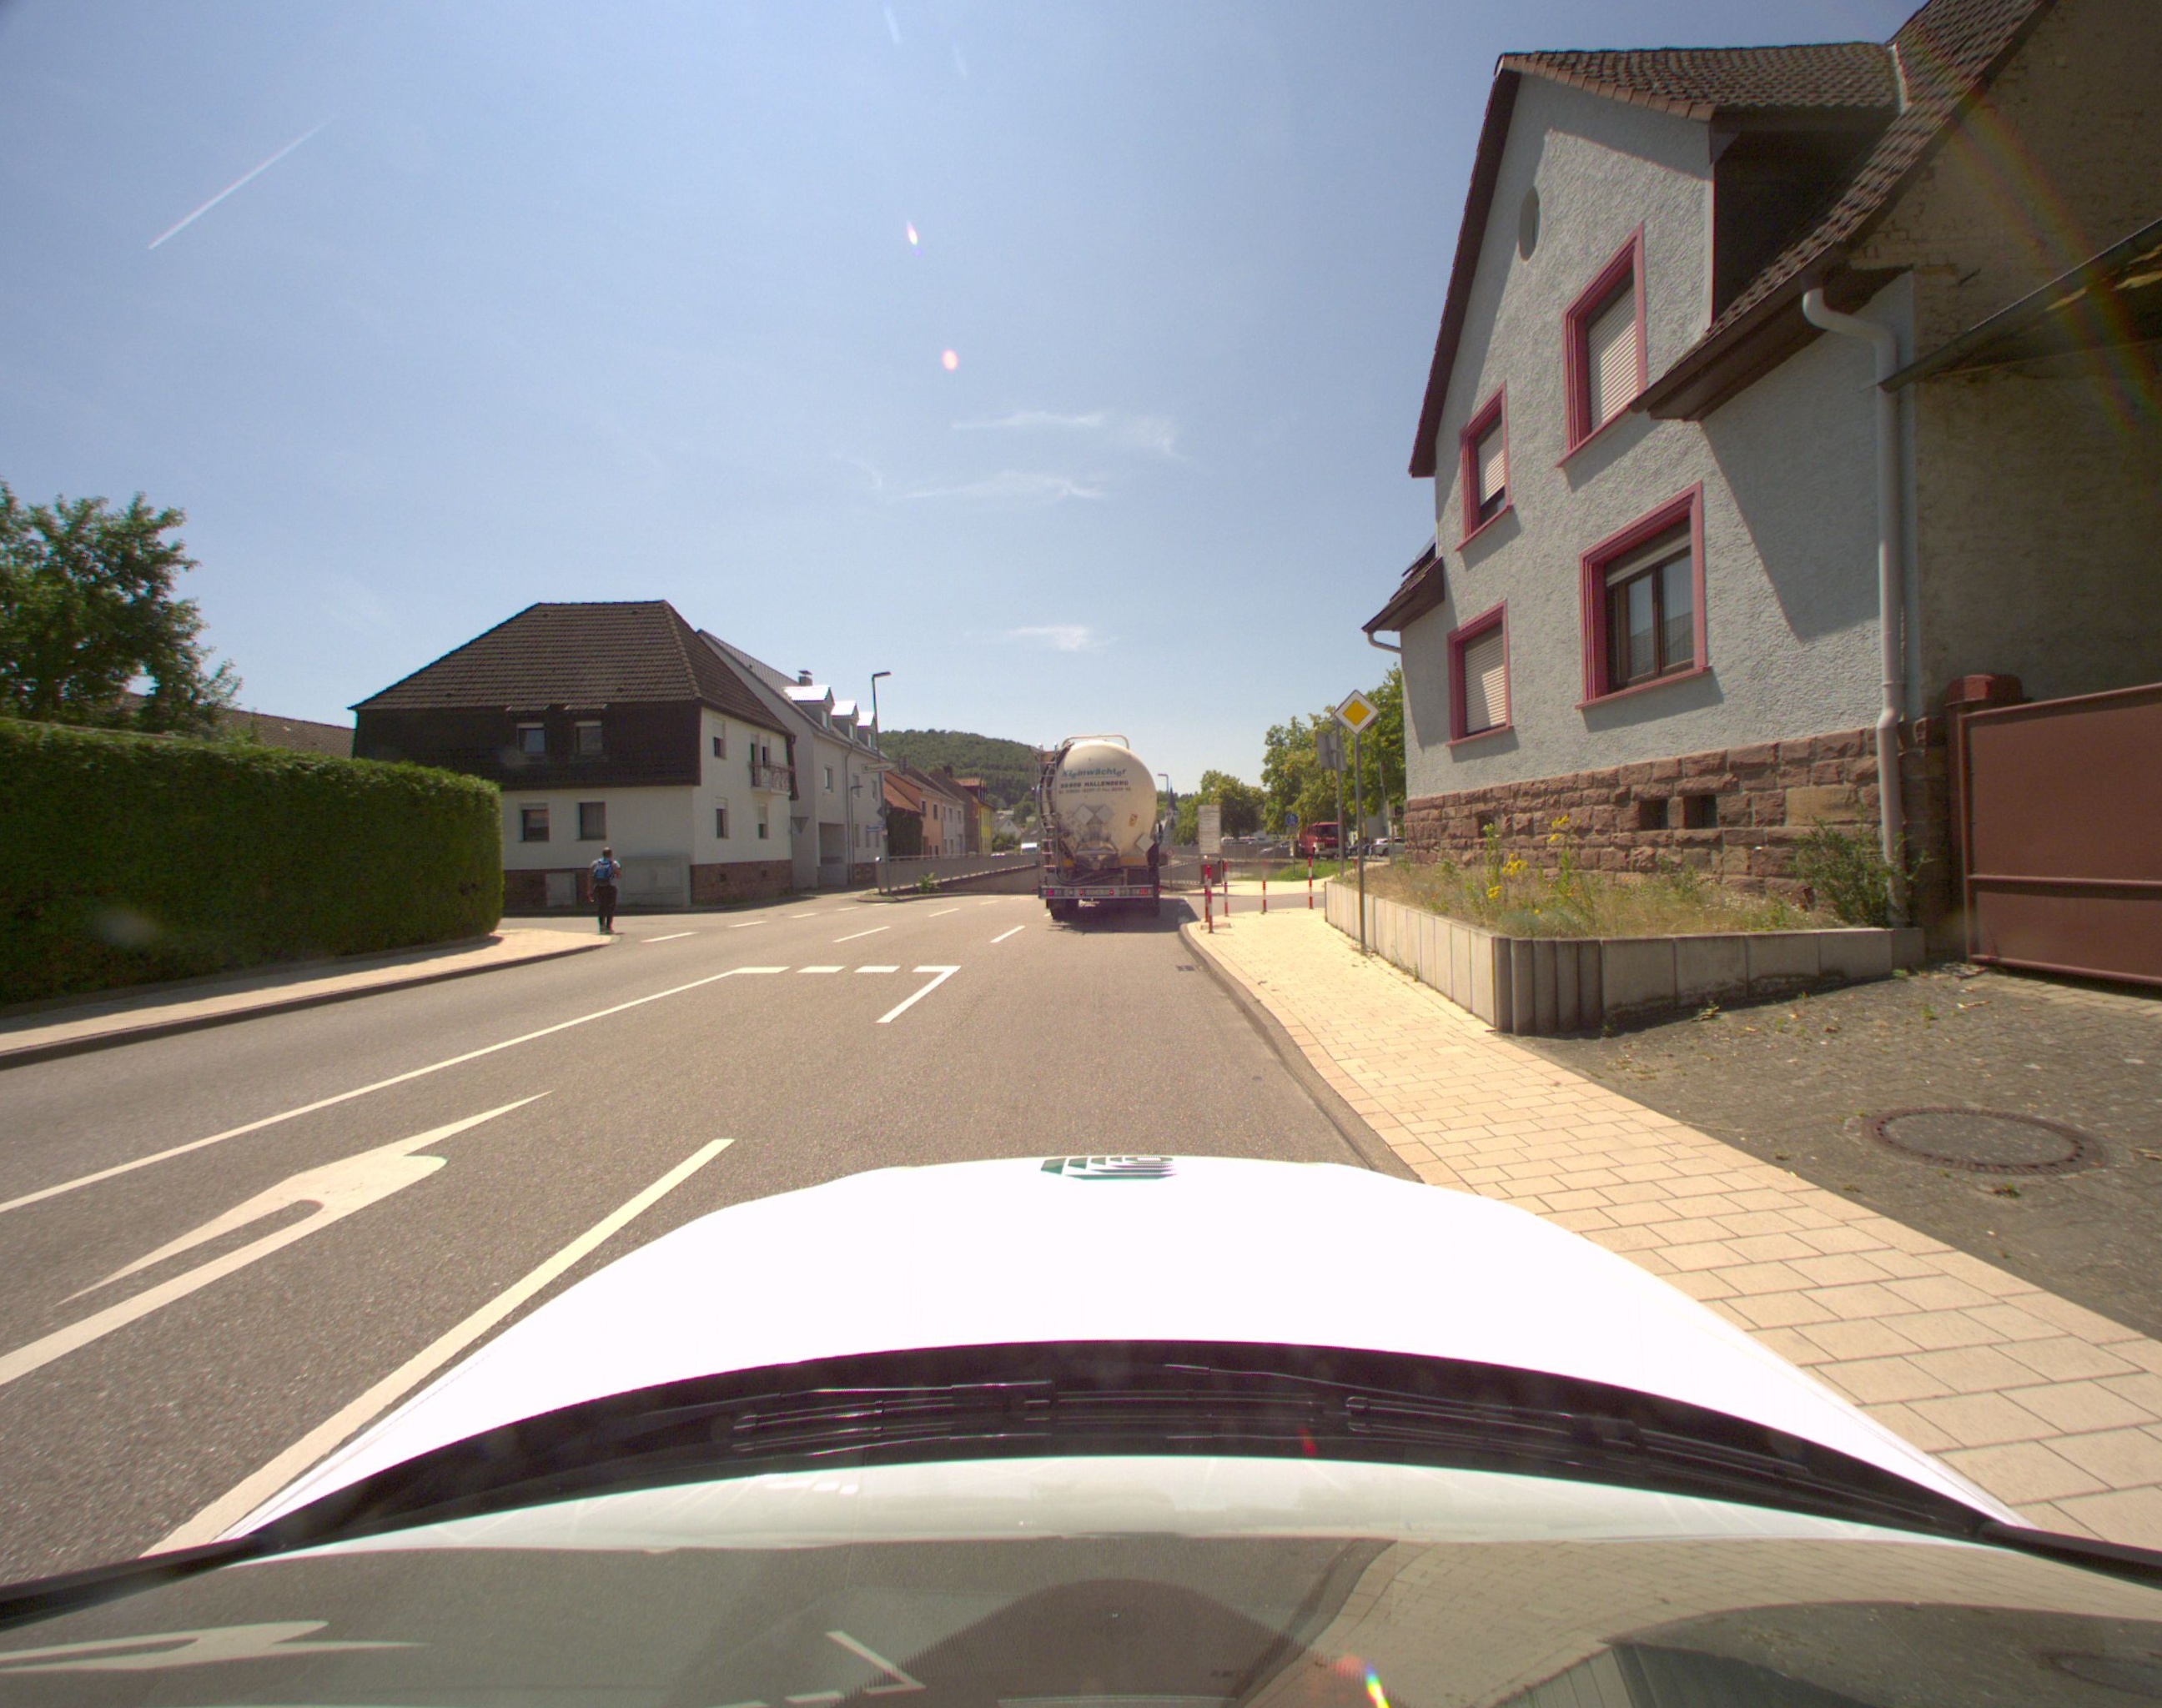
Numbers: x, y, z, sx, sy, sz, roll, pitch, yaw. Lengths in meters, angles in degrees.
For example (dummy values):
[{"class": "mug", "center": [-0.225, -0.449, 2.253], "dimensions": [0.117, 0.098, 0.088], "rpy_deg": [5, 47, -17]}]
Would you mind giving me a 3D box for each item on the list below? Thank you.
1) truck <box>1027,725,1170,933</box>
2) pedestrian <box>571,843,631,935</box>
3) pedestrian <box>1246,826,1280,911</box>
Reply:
[{"class": "truck", "center": [0.370, -0.519, 21.561], "dimensions": [2.741, 4.056, 10.888], "rpy_deg": [-1, 0, 0]}, {"class": "pedestrian", "center": [-9.821, 0.709, 16.684], "dimensions": [0.710, 1.823, 0.897], "rpy_deg": [0, -1, -3]}, {"class": "pedestrian", "center": [3.715, 0.292, 16.686], "dimensions": [0.568, 1.693, 0.722], "rpy_deg": [0, -1, 5]}]
